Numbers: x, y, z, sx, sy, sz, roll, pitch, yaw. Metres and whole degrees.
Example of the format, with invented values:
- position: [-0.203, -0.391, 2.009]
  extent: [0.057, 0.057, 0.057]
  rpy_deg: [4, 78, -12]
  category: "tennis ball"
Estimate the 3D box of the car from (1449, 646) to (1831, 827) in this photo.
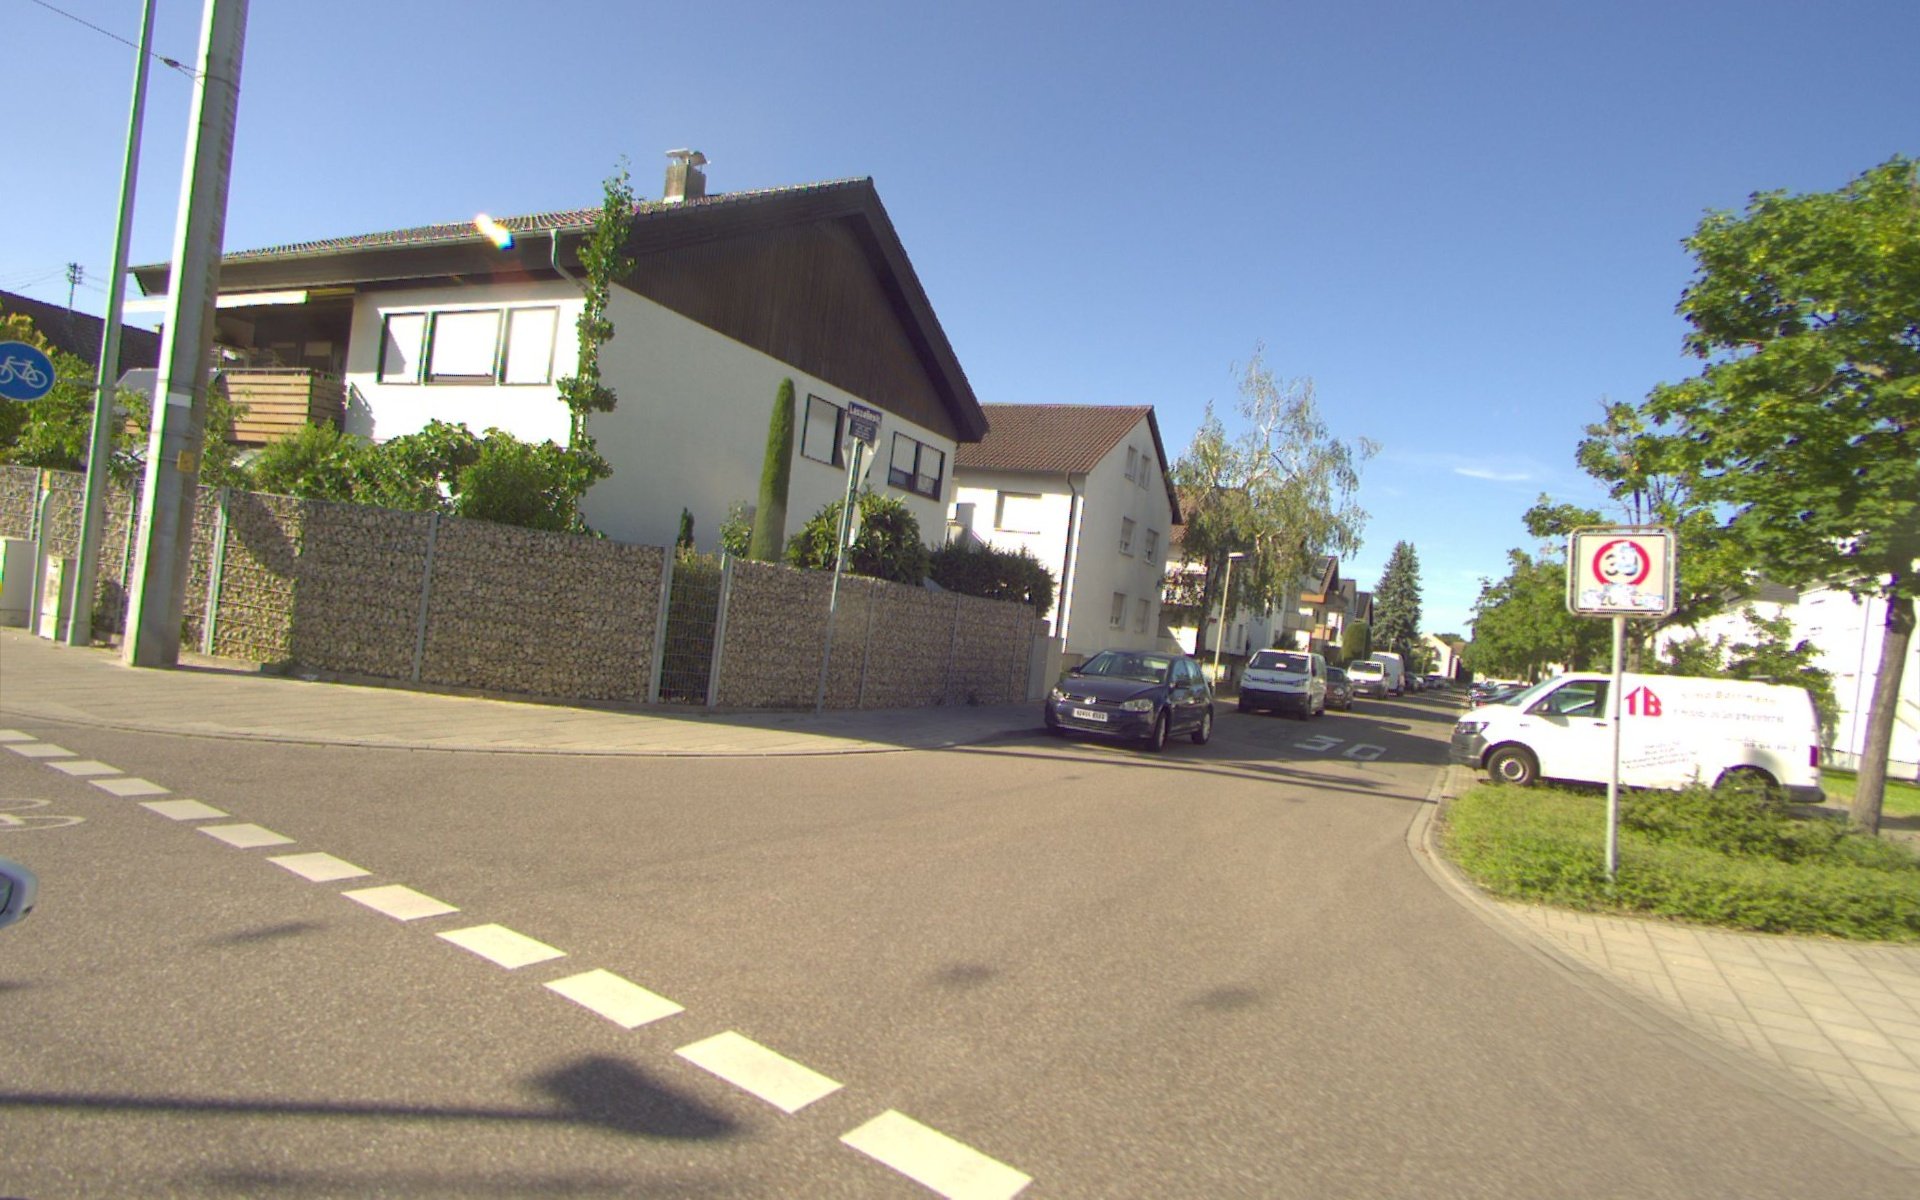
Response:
- position: [10.348, 2.013, 15.809]
  extent: [4.566, 1.973, 1.834]
  rpy_deg: [7, -1, 28]
  category: "car"

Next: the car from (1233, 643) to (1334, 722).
- position: [9.380, 2.342, 28.944]
  extent: [1.844, 1.865, 4.650]
  rpy_deg: [7, 0, 27]
  category: "car"

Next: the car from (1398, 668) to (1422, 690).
- position: [43.648, 7.653, 97.533]
  extent: [1.824, 1.856, 3.997]
  rpy_deg: [7, 0, 26]
  category: "car"

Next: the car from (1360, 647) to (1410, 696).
- position: [26.975, 4.528, 63.777]
  extent: [2.343, 2.631, 5.515]
  rpy_deg: [7, 0, 26]
  category: "car"

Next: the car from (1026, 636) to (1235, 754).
- position: [2.813, 1.454, 15.848]
  extent: [1.825, 1.389, 3.993]
  rpy_deg: [7, 0, 30]
  category: "car"

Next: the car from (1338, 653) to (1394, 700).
- position: [21.268, 3.965, 52.614]
  extent: [2.182, 2.066, 4.340]
  rpy_deg: [7, 0, 26]
  category: "car"

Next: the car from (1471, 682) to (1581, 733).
- position: [24.183, 4.577, 43.131]
  extent: [3.872, 1.500, 1.699]
  rpy_deg: [7, 0, 26]
  category: "car"

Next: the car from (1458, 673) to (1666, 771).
- position: [16.101, 3.206, 27.208]
  extent: [4.507, 1.835, 1.708]
  rpy_deg: [7, 0, 26]
  category: "car"

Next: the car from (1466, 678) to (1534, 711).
- position: [39.564, 6.909, 73.760]
  extent: [4.135, 1.728, 1.852]
  rpy_deg: [7, 0, 26]
  category: "car"

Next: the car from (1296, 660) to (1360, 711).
- position: [13.228, 3.029, 36.023]
  extent: [1.587, 1.521, 3.997]
  rpy_deg: [7, 0, 26]
  category: "car"

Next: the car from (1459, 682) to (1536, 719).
- position: [34.731, 6.461, 65.118]
  extent: [4.135, 1.728, 1.852]
  rpy_deg: [7, 0, 26]
  category: "car"

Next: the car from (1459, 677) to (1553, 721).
- position: [29.044, 5.238, 53.679]
  extent: [4.135, 1.727, 1.852]
  rpy_deg: [7, 0, 26]
  category: "car"

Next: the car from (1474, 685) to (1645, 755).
- position: [19.947, 3.962, 33.759]
  extent: [4.613, 1.524, 1.998]
  rpy_deg: [7, 0, 26]
  category: "car"

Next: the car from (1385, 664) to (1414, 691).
- position: [35.325, 6.199, 80.773]
  extent: [1.824, 1.856, 3.997]
  rpy_deg: [7, 0, 26]
  category: "car"
